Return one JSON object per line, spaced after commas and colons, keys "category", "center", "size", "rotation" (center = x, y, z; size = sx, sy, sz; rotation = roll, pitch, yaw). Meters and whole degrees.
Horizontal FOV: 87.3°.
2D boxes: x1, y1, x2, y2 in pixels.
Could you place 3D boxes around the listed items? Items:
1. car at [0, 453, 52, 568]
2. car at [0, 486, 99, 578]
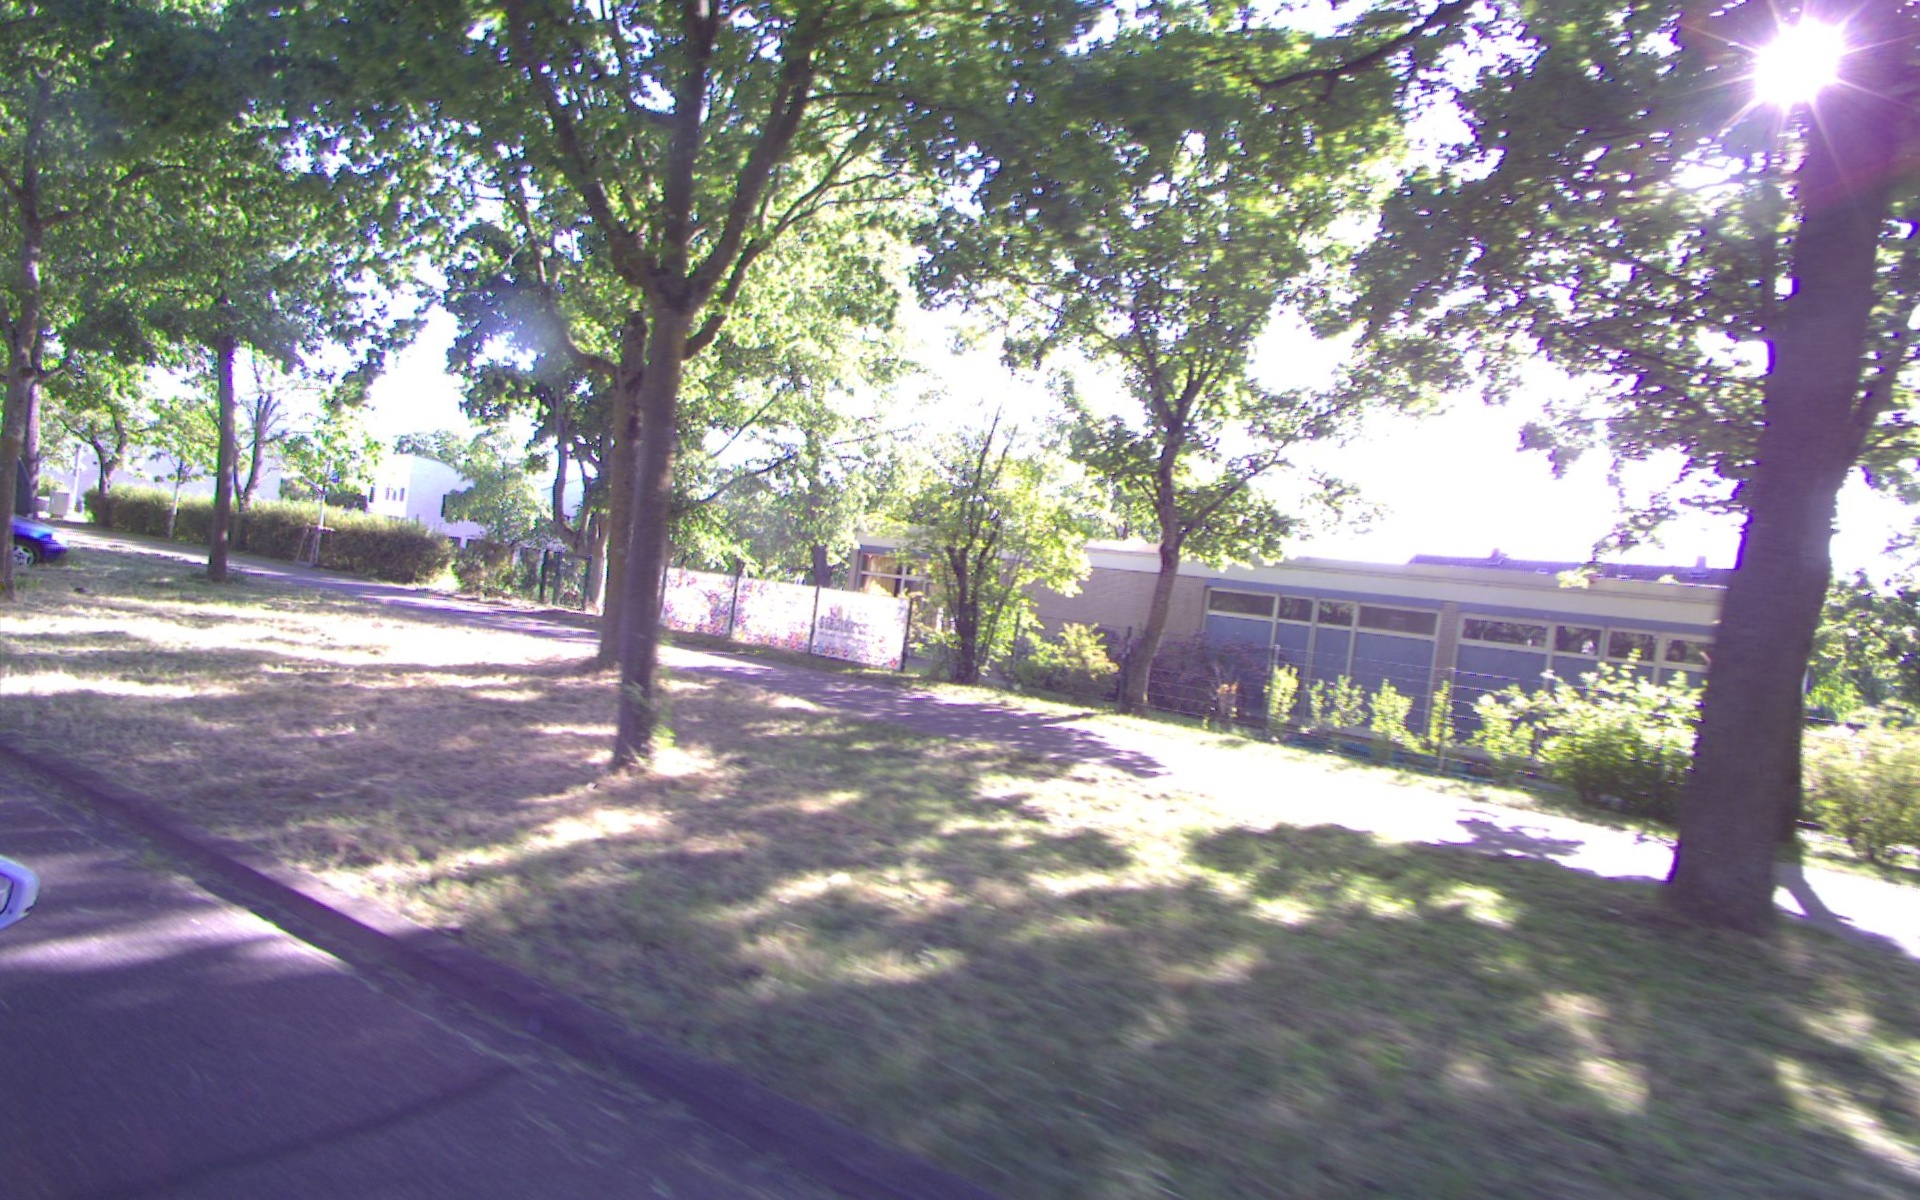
{"category": "car", "center": [-19.533, -1.906, 17.730], "size": [1.912, 2.057, 4.807], "rotation": [7, 0, 33]}
{"category": "car", "center": [-17.052, -1.314, 16.556], "size": [1.711, 1.420, 3.991], "rotation": [7, 0, 33]}
